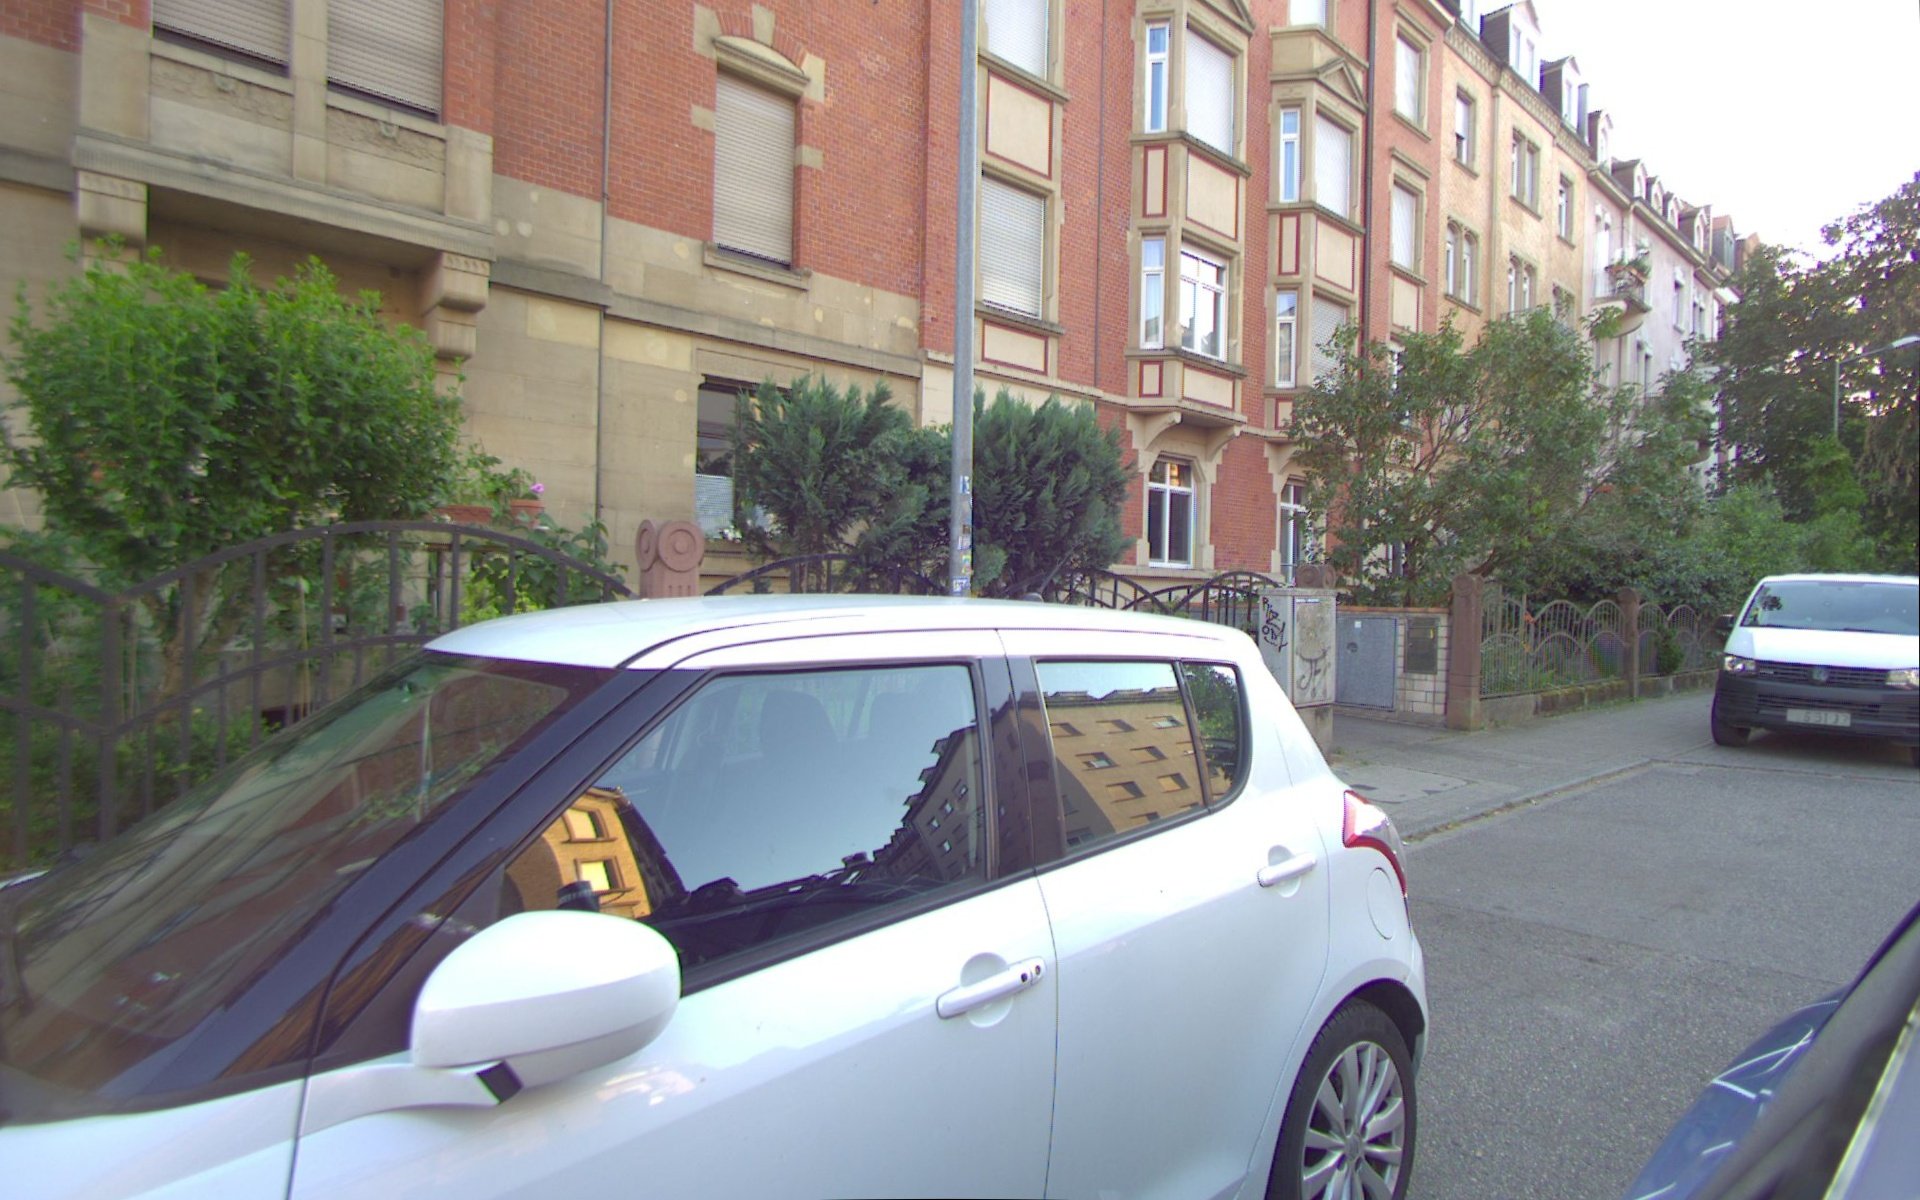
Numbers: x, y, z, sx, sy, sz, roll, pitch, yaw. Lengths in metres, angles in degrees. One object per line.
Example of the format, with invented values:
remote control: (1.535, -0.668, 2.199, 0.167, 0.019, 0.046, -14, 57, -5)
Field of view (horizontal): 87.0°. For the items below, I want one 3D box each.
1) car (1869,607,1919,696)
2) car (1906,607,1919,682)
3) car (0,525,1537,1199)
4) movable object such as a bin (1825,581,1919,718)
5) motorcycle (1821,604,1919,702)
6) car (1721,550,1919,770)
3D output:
car: (18.780, 0.930, 19.165, 4.247, 1.571, 1.724, 1, 0, -39)
car: (22.687, 0.961, 22.538, 4.754, 1.602, 1.760, 0, -1, -39)
car: (-0.519, 0.688, 2.061, 3.791, 1.496, 1.678, 1, 0, -39)
movable object such as a bin: (14.238, 0.712, 15.303, 2.285, 1.901, 1.414, 0, 2, -42)
motorcycle: (15.712, 0.877, 16.602, 2.066, 1.500, 1.128, 3, 2, 16)
car: (10.758, 0.567, 11.903, 5.450, 2.064, 1.864, 0, 2, -43)
